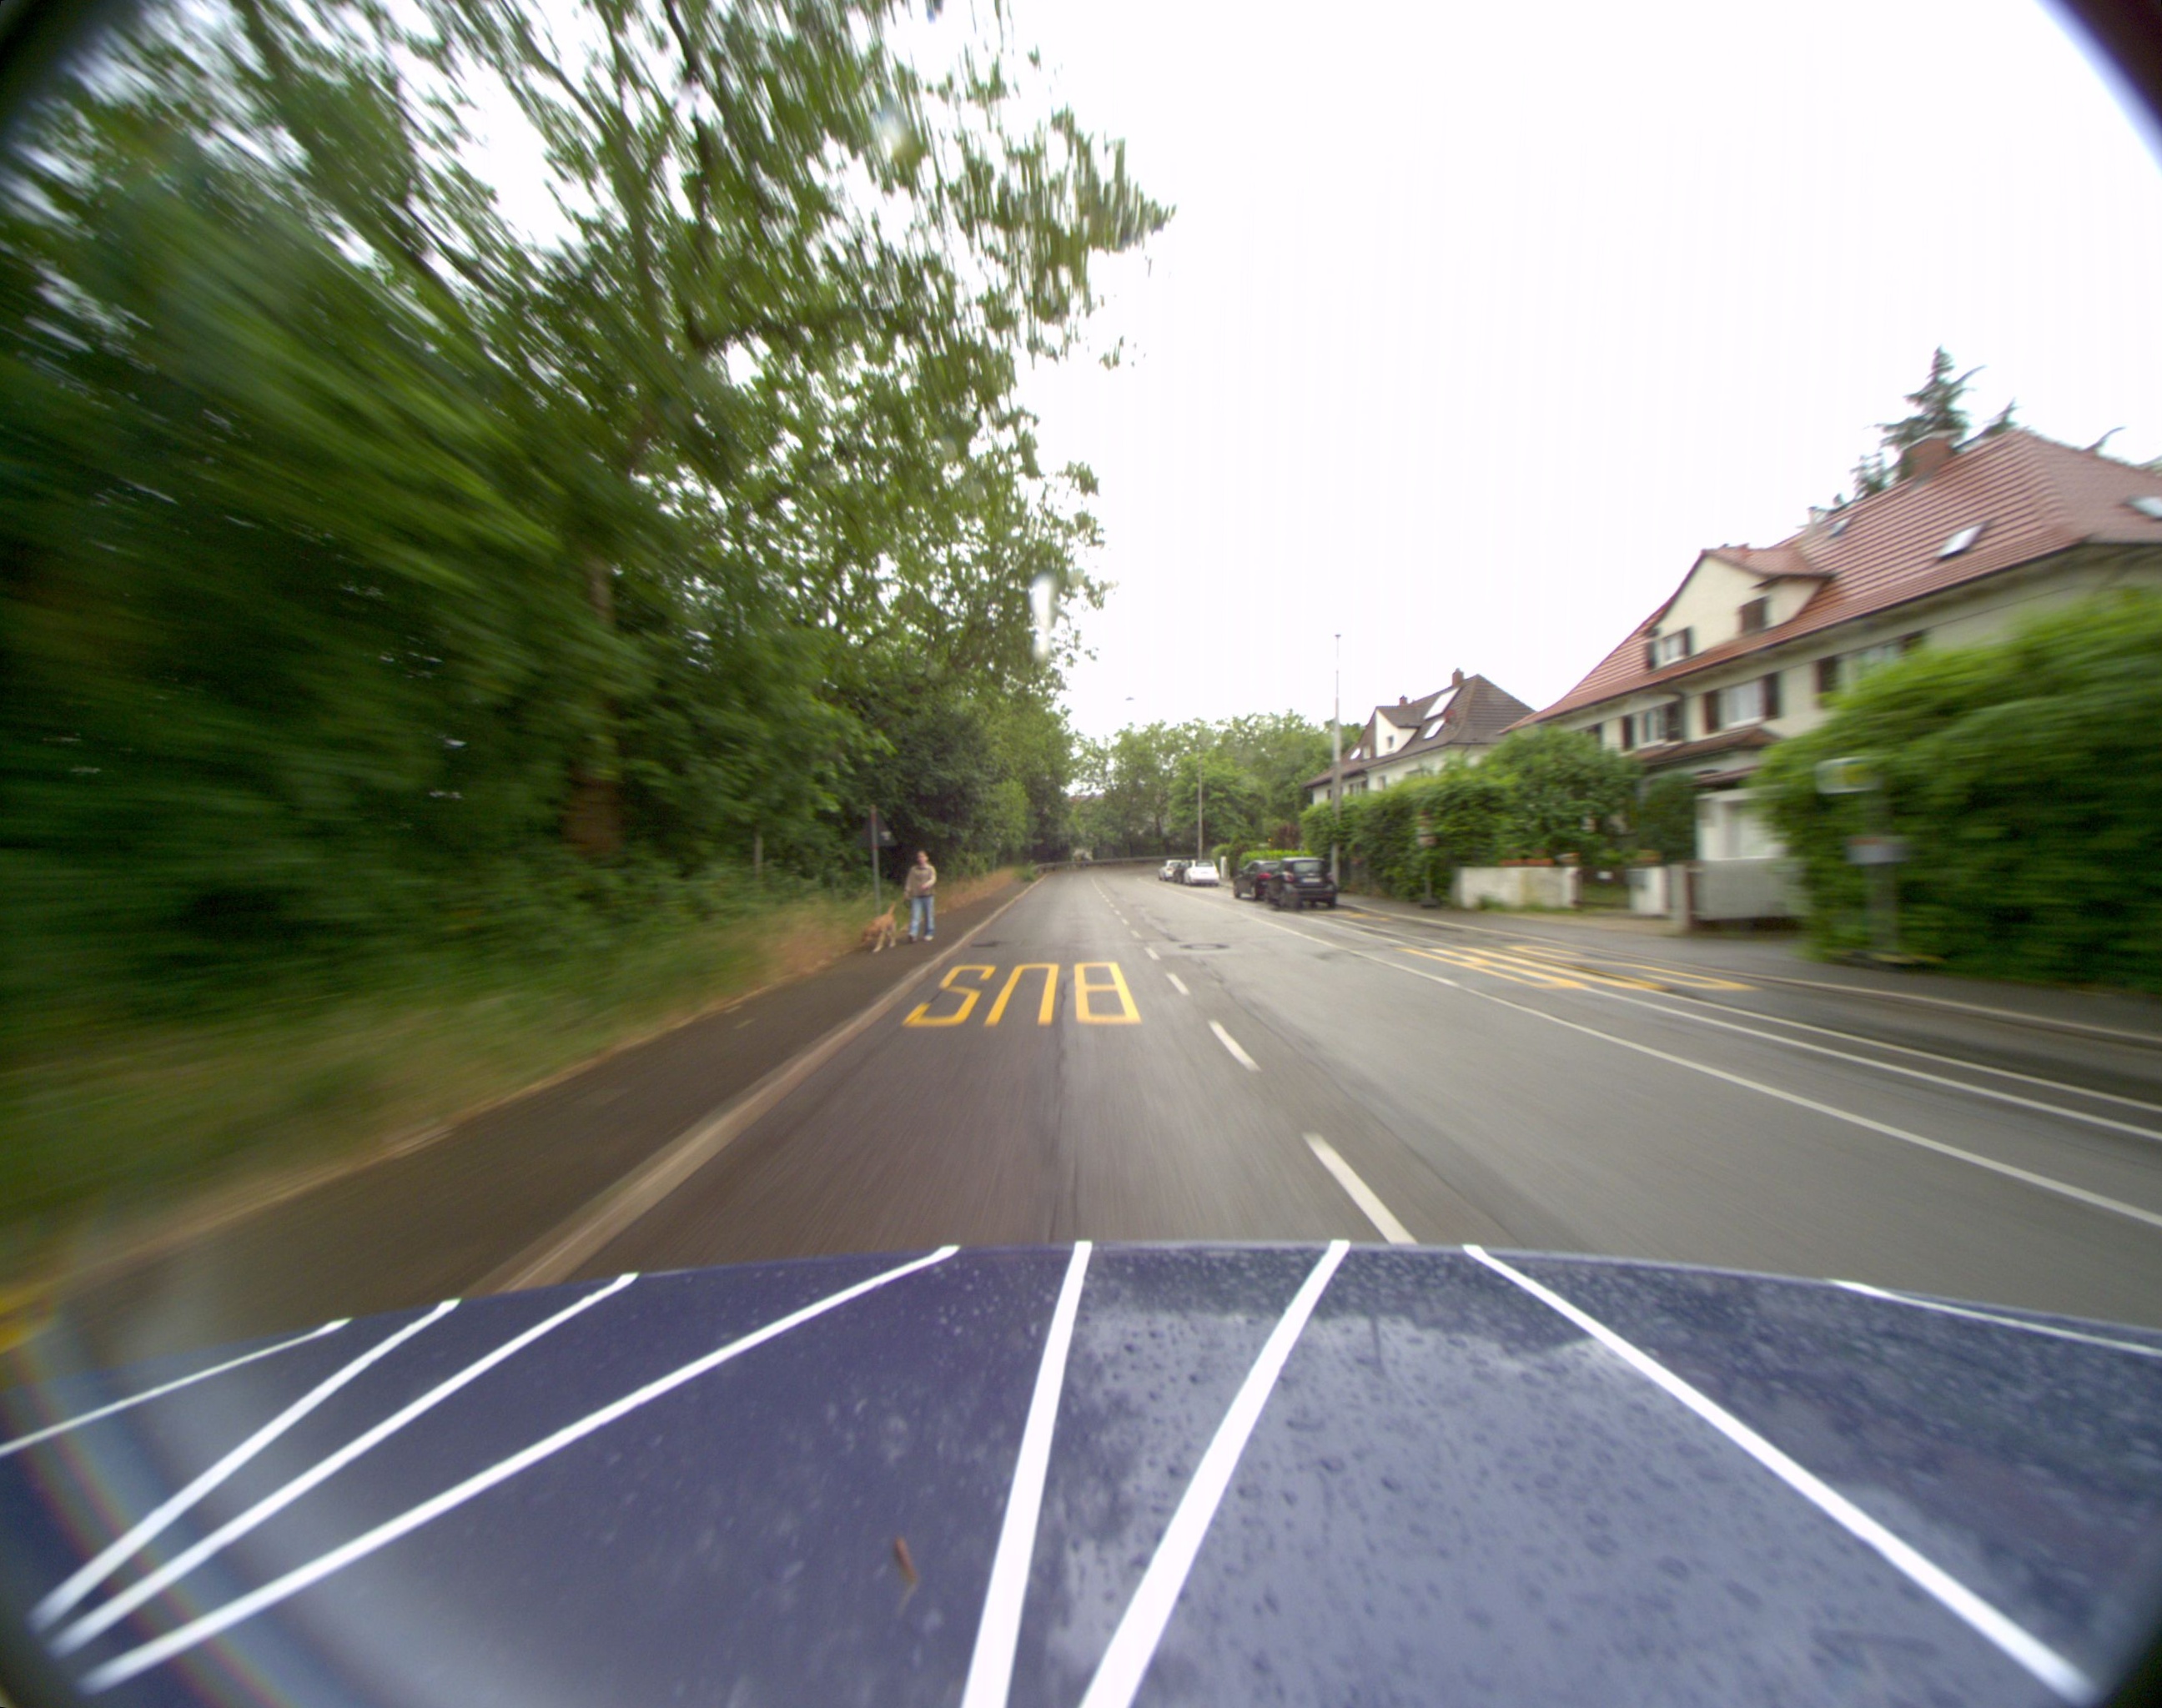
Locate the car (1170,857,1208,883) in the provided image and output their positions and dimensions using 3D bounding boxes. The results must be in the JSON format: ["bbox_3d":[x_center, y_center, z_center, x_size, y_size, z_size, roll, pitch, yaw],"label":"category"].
[{"bbox_3d":[6.805,1.007,48.161,1.702,1.516,4.422,-1,0,-1],"label":"car"}]

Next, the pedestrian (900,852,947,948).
[{"bbox_3d":[-2.717,0.780,13.158,0.643,1.602,0.669,-1,2,-1],"label":"pedestrian"}]

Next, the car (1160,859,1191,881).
[{"bbox_3d":[6.601,1.161,53.415,1.737,1.413,4.285,-1,-2,1],"label":"car"}]

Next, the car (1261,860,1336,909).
[{"bbox_3d":[6.833,0.929,24.181,1.523,1.445,3.030,1,0,0],"label":"car"}]

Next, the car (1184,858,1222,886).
[{"bbox_3d":[6.911,0.976,43.385,1.702,1.459,3.712,-1,0,3],"label":"car"}]

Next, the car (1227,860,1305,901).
[{"bbox_3d":[6.804,0.934,28.363,1.692,1.410,4.214,1,0,-3],"label":"car"}]
